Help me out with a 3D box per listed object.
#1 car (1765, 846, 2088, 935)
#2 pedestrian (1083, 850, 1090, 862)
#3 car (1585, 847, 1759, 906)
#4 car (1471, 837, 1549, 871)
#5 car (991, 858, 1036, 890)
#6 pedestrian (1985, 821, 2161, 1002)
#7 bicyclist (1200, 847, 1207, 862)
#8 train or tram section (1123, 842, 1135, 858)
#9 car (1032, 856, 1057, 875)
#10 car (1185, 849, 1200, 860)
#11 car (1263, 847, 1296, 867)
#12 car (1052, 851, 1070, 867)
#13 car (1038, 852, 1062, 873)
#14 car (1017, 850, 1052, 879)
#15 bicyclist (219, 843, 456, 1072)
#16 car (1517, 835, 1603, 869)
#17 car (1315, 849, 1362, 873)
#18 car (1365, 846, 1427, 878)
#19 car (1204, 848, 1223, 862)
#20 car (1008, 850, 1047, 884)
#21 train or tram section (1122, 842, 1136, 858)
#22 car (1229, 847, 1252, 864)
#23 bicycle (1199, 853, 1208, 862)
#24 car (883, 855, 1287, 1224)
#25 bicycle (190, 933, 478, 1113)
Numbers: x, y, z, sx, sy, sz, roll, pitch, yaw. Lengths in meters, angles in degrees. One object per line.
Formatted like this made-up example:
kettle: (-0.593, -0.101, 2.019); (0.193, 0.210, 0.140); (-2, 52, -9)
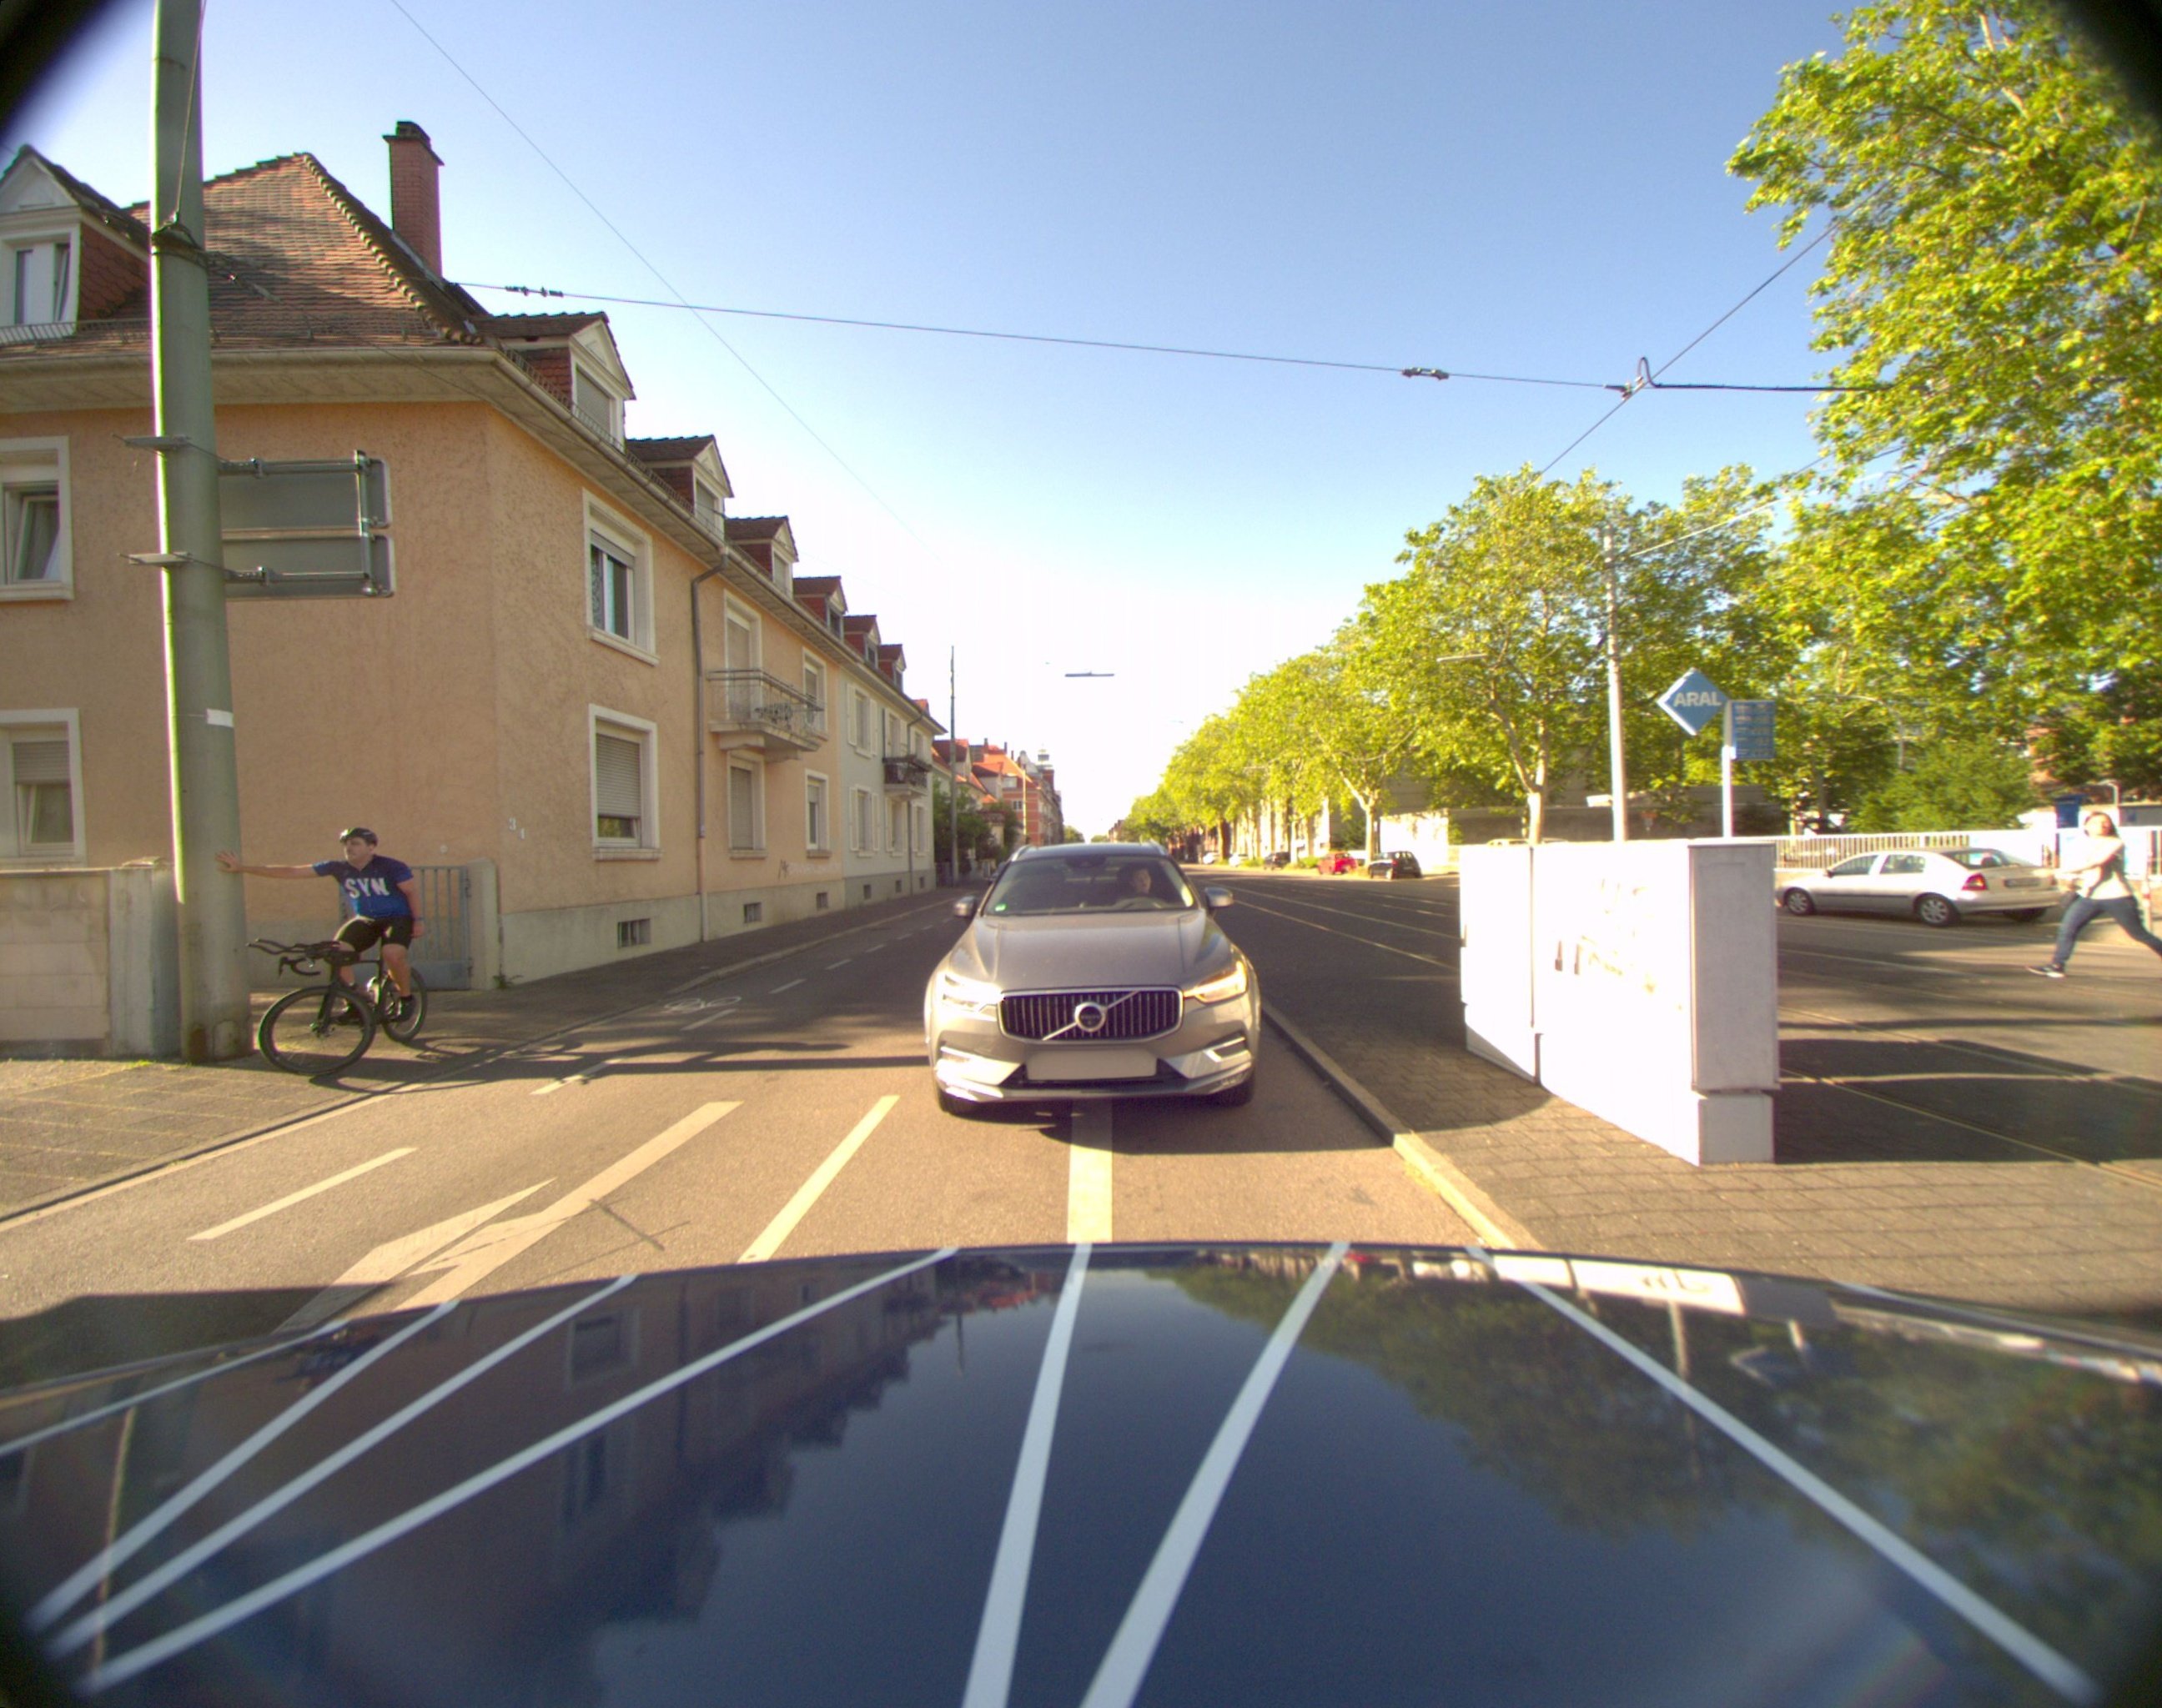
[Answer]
car: (16.237, 0.615, 14.972); (1.846, 1.400, 3.999); (-4, 0, -1)
pedestrian: (0.985, 0.393, 134.335); (1.104, 2.002, 1.242); (-2, 1, 1)
car: (16.519, 0.566, 21.545); (1.845, 1.400, 4.138); (-4, 0, 4)
car: (21.752, -0.029, 38.710); (1.845, 1.524, 4.001); (-4, 0, 4)
car: (-3.226, 0.945, 36.973); (1.847, 1.412, 3.999); (-1, 0, -1)
pedestrian: (9.586, 0.510, 7.191); (1.103, 1.610, 0.717); (0, 1, 25)
bicyclist: (15.319, 0.010, 95.218); (0.720, 1.853, 1.071); (-1, 1, 0)
train or tram section: (11.619, -1.019, 183.417); (2.842, 3.456, 10.184); (-2, 1, 4)
car: (-2.874, 0.859, 60.402); (1.808, 1.402, 3.999); (-1, 0, -1)
car: (18.377, -0.010, 125.405); (1.845, 1.664, 4.098); (-4, 0, 3)
car: (17.173, 0.222, 65.891); (1.845, 1.607, 4.098); (-4, 0, 3)
car: (-2.237, 0.549, 85.480); (1.999, 1.641, 4.658); (-1, 0, -1)
car: (-2.670, 0.693, 65.766); (1.847, 1.681, 4.000); (-1, 0, 0)
car: (-2.819, 0.624, 46.805); (1.847, 1.681, 4.000); (-1, 0, 0)
bicyclist: (-6.170, 0.809, 6.370); (1.071, 1.728, 0.853); (4, 1, 1)
car: (24.046, -0.113, 38.332); (1.845, 1.524, 4.000); (-4, 0, 2)
car: (16.965, 0.444, 50.306); (1.845, 1.400, 4.001); (-4, 0, 3)
car: (16.970, 0.406, 41.082); (1.845, 1.524, 4.001); (-4, 0, 4)
car: (17.602, 0.073, 100.902); (1.845, 1.664, 4.098); (-4, 0, 3)
car: (-2.915, 0.684, 42.355); (1.847, 1.742, 4.144); (-1, 0, 0)
train or tram section: (10.922, -0.904, 173.279); (2.861, 3.456, 10.185); (-1, 0, 4)
car: (17.496, 0.115, 83.539); (1.845, 1.664, 4.098); (-4, 0, 3)
bicycle: (15.329, 0.456, 95.234); (0.654, 1.114, 2.533); (-1, 0, 1)
car: (0.002, 0.888, 5.784); (1.892, 1.695, 4.318); (-1, 0, -1)
bicycle: (-5.927, 1.275, 6.192); (0.594, 1.045, 1.719); (4, 1, 1)
